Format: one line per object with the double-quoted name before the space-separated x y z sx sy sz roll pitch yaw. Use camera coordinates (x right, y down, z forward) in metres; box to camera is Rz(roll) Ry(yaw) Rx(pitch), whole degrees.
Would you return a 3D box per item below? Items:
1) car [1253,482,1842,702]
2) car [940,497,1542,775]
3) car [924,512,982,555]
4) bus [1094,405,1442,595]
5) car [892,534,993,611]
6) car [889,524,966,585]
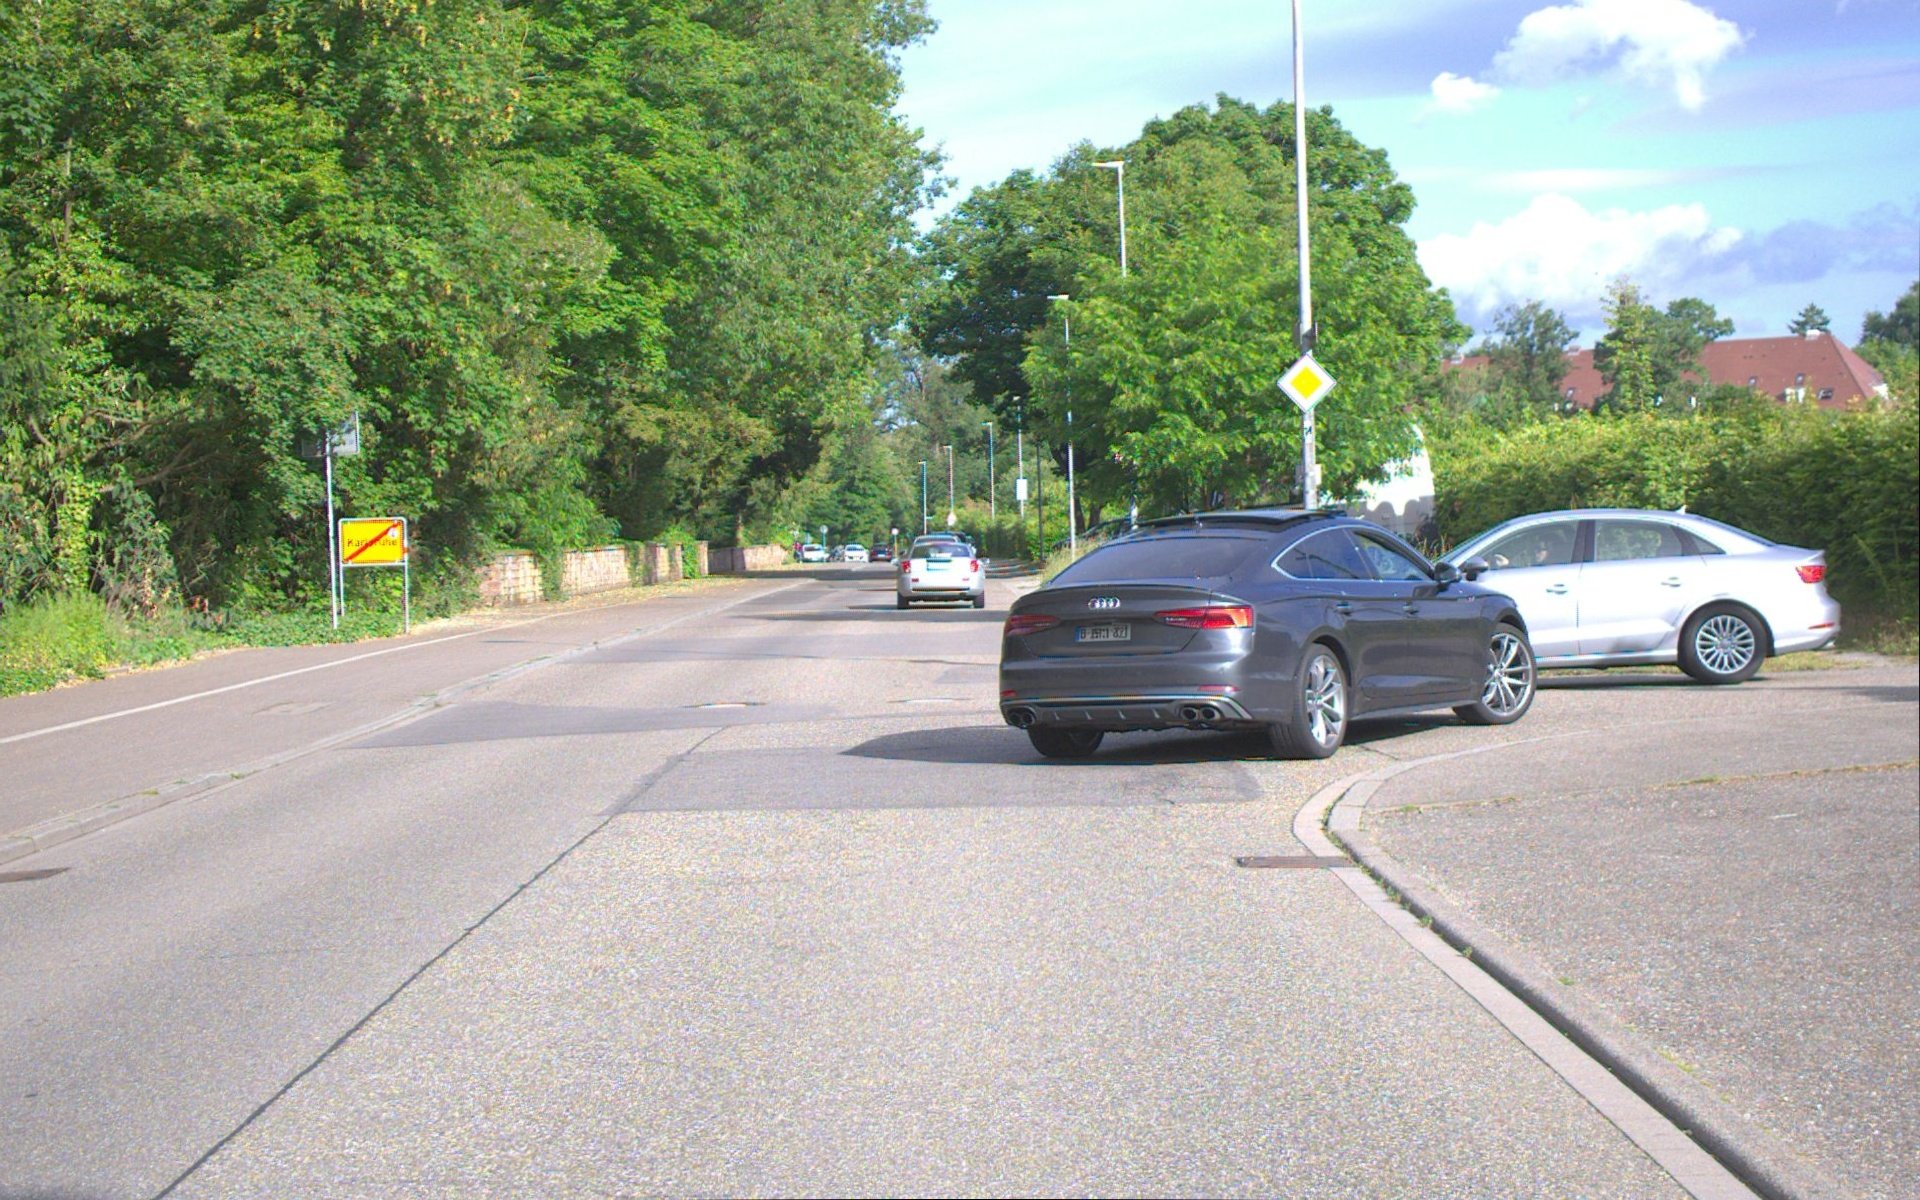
"car" 4.577 -0.079 27.219 4.363 1.438 1.932 -3 1 7
"car" 1.822 0.142 20.762 1.969 1.429 4.329 0 2 29
"car" -0.269 -2.309 118.274 1.886 1.367 4.055 -2 2 -1
"bus" 5.063 -1.670 56.988 5.365 2.737 2.069 -4 2 -3
"car" -0.369 -0.559 67.601 1.886 1.367 4.055 -2 2 -1
"car" -0.862 -1.192 89.262 1.886 1.460 4.055 -2 2 -1
